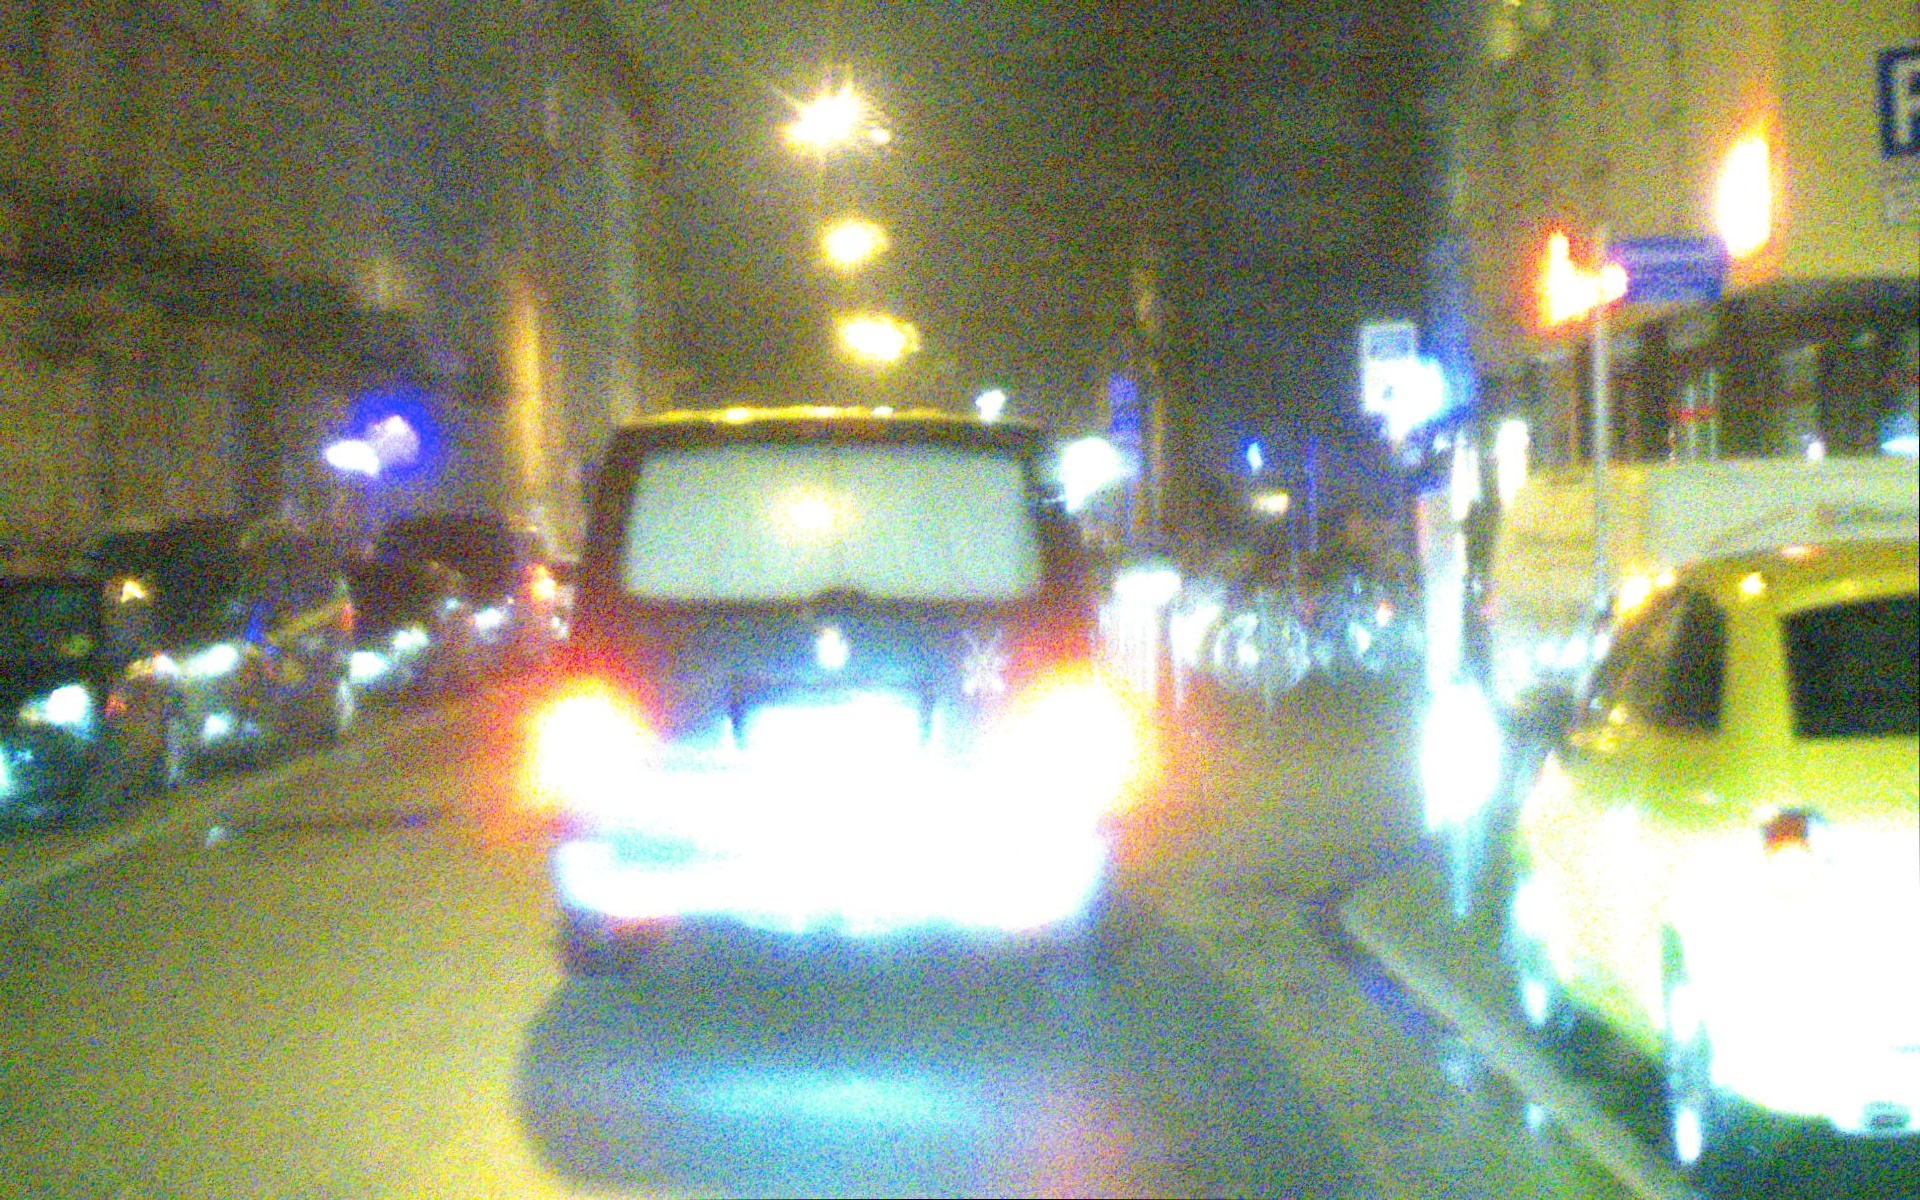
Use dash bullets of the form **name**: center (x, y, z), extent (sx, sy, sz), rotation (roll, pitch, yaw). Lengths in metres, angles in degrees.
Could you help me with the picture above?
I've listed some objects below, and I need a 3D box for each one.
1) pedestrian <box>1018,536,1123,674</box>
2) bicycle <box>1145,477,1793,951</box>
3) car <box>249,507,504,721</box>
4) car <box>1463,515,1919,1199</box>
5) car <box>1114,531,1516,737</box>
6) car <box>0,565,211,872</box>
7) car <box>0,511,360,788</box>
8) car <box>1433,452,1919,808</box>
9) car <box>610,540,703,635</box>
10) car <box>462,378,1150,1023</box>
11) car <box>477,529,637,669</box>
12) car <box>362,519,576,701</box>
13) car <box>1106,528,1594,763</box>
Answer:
- **pedestrian**: center (1.365, 0.067, 42.651), extent (1.226, 1.670, 0.697), rotation (-2, -1, 0)
- **bicycle**: center (1.975, 0.438, 13.521), extent (2.321, 1.633, 0.888), rotation (-5, 0, 7)
- **car**: center (-5.816, 0.114, 34.704), extent (1.993, 2.007, 4.000), rotation (1, 0, -2)
- **car**: center (2.378, 0.587, 9.013), extent (1.592, 1.538, 3.420), rotation (0, 0, 0)
- **car**: center (3.694, 0.361, 36.364), extent (3.987, 2.007, 2.000), rotation (-2, -1, 0)
- **car**: center (-5.367, 0.536, 18.278), extent (1.993, 1.444, 4.000), rotation (1, 0, -2)
- **car**: center (-5.717, 0.317, 25.394), extent (1.993, 1.856, 4.094), rotation (1, 0, -2)
- **car**: center (5.444, 0.126, 20.325), extent (4.809, 1.916, 2.130), rotation (0, 1, -20)
- **car**: center (-6.689, -0.287, 76.073), extent (1.749, 2.007, 4.000), rotation (1, 0, -1)
- **car**: center (-0.623, 0.268, 12.982), extent (2.122, 1.984, 4.602), rotation (0, 1, -4)
- **car**: center (-6.033, -0.028, 51.856), extent (1.993, 2.007, 4.000), rotation (1, 0, -1)
- **car**: center (-5.710, 0.099, 40.450), extent (1.993, 2.007, 4.000), rotation (1, 0, -1)
- **car**: center (3.603, 0.409, 31.987), extent (3.986, 2.007, 2.000), rotation (-1, -1, -17)
